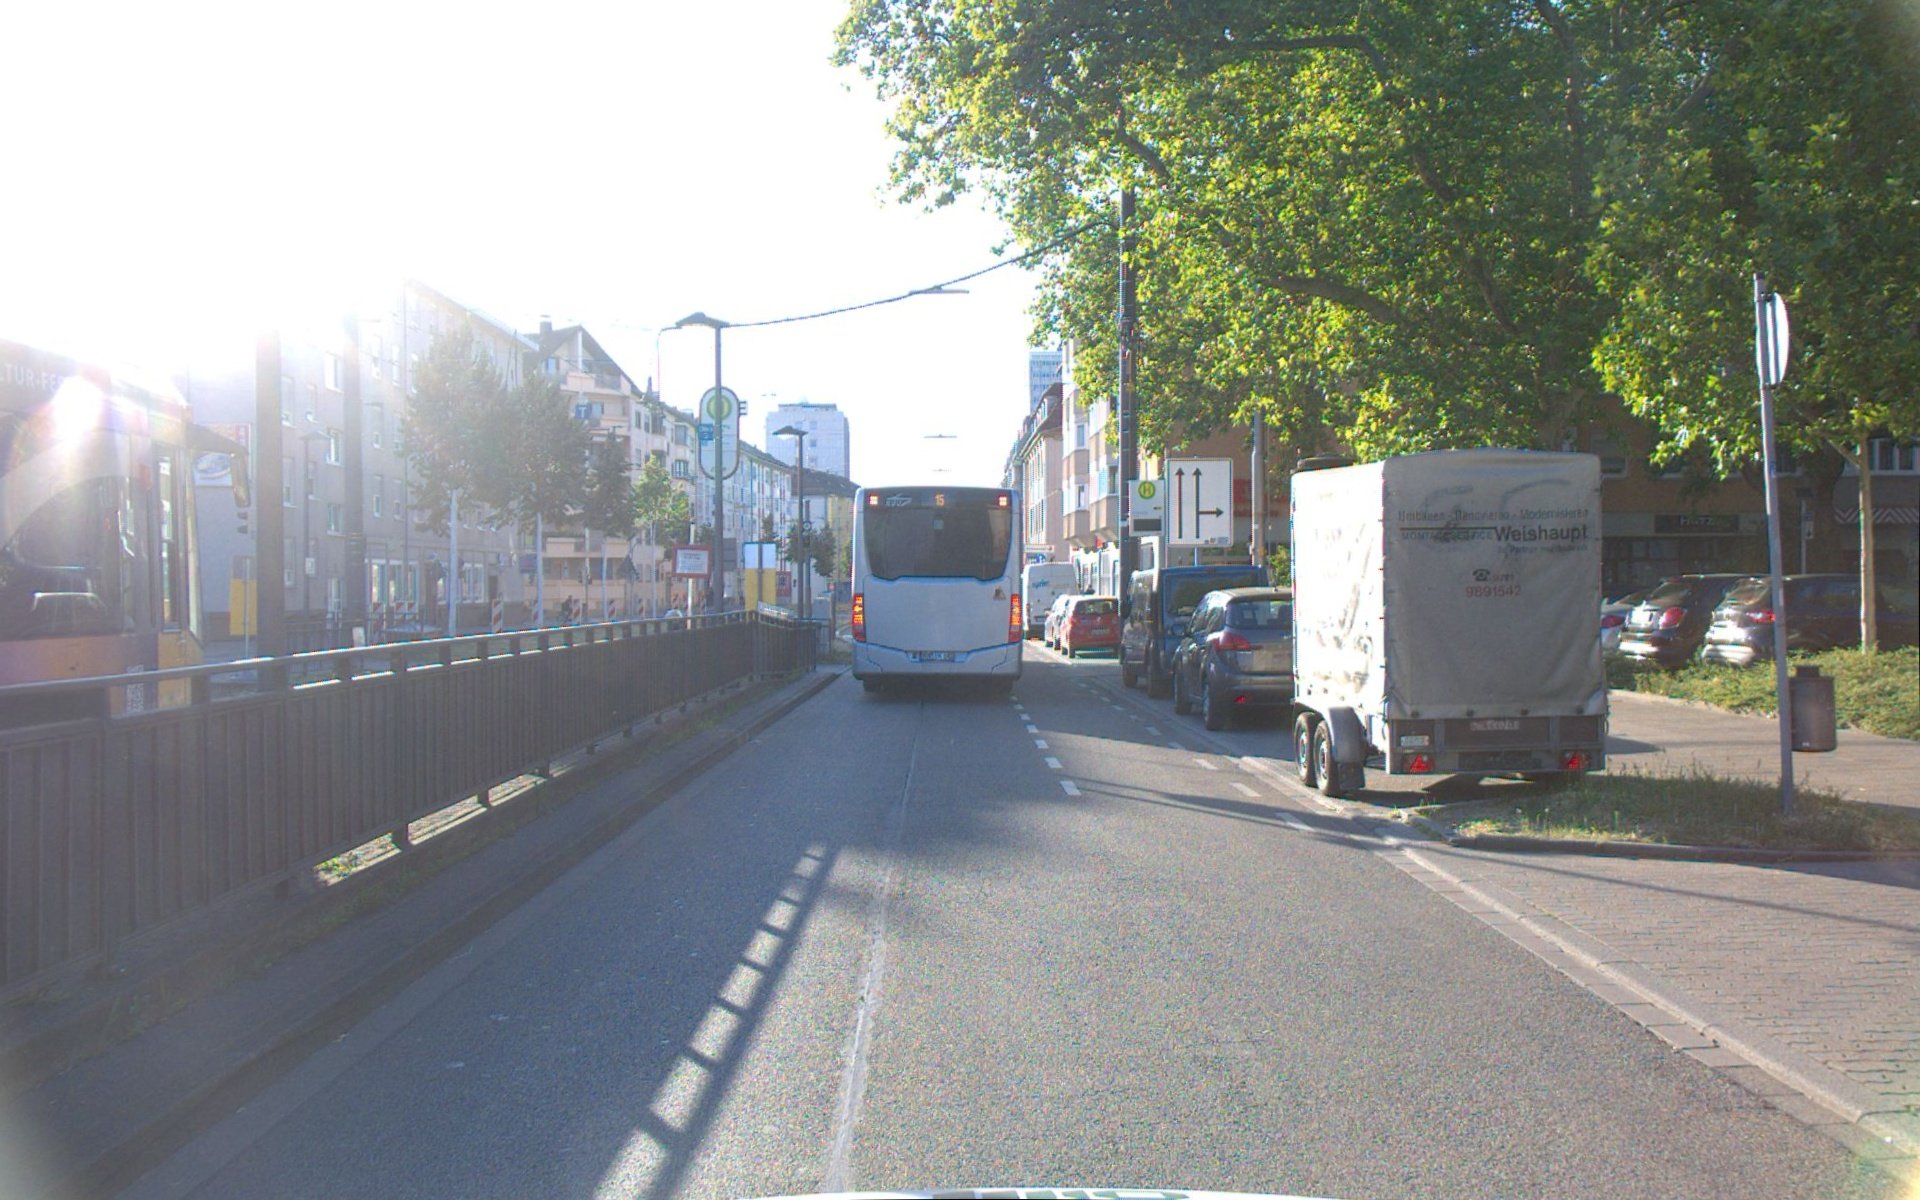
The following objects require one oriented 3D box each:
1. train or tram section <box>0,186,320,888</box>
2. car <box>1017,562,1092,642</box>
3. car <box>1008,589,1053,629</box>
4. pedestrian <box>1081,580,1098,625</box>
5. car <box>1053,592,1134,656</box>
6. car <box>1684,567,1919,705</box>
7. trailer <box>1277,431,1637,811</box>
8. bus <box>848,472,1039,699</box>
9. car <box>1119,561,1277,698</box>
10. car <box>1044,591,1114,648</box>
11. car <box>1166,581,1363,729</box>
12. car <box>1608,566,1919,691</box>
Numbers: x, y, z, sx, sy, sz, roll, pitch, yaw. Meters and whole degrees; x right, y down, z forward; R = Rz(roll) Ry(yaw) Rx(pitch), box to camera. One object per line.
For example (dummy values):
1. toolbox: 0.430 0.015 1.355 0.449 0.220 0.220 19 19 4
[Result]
1. train or tram section: -6.165 -0.302 5.998 2.587 3.580 13.332 -1 0 -1
2. car: 3.285 0.070 58.497 2.236 2.673 5.308 -1 0 -1
3. car: 2.949 0.364 69.694 1.694 1.602 3.674 -1 0 -1
4. pedestrian: 5.750 0.107 73.376 0.671 1.981 1.116 0 -2 -1
5. car: 3.370 0.589 42.341 1.637 1.488 3.933 -3 0 -1
6. car: 11.662 0.432 21.400 3.840 1.665 1.706 -1 0 -1
7. trailer: 3.773 0.139 13.162 1.795 2.602 3.318 -1 0 -1
8. bus: -0.362 -0.210 28.788 2.678 3.194 10.700 1 0 -1
9. car: 3.716 0.437 26.540 1.809 1.991 4.543 -1 0 -1
10. car: 3.353 0.529 47.258 1.637 1.488 3.933 -3 0 -1
11. car: 3.627 0.614 20.306 1.666 1.616 3.827 -1 0 -1
12. car: 11.569 0.391 23.761 3.840 1.666 1.706 -1 0 -1
